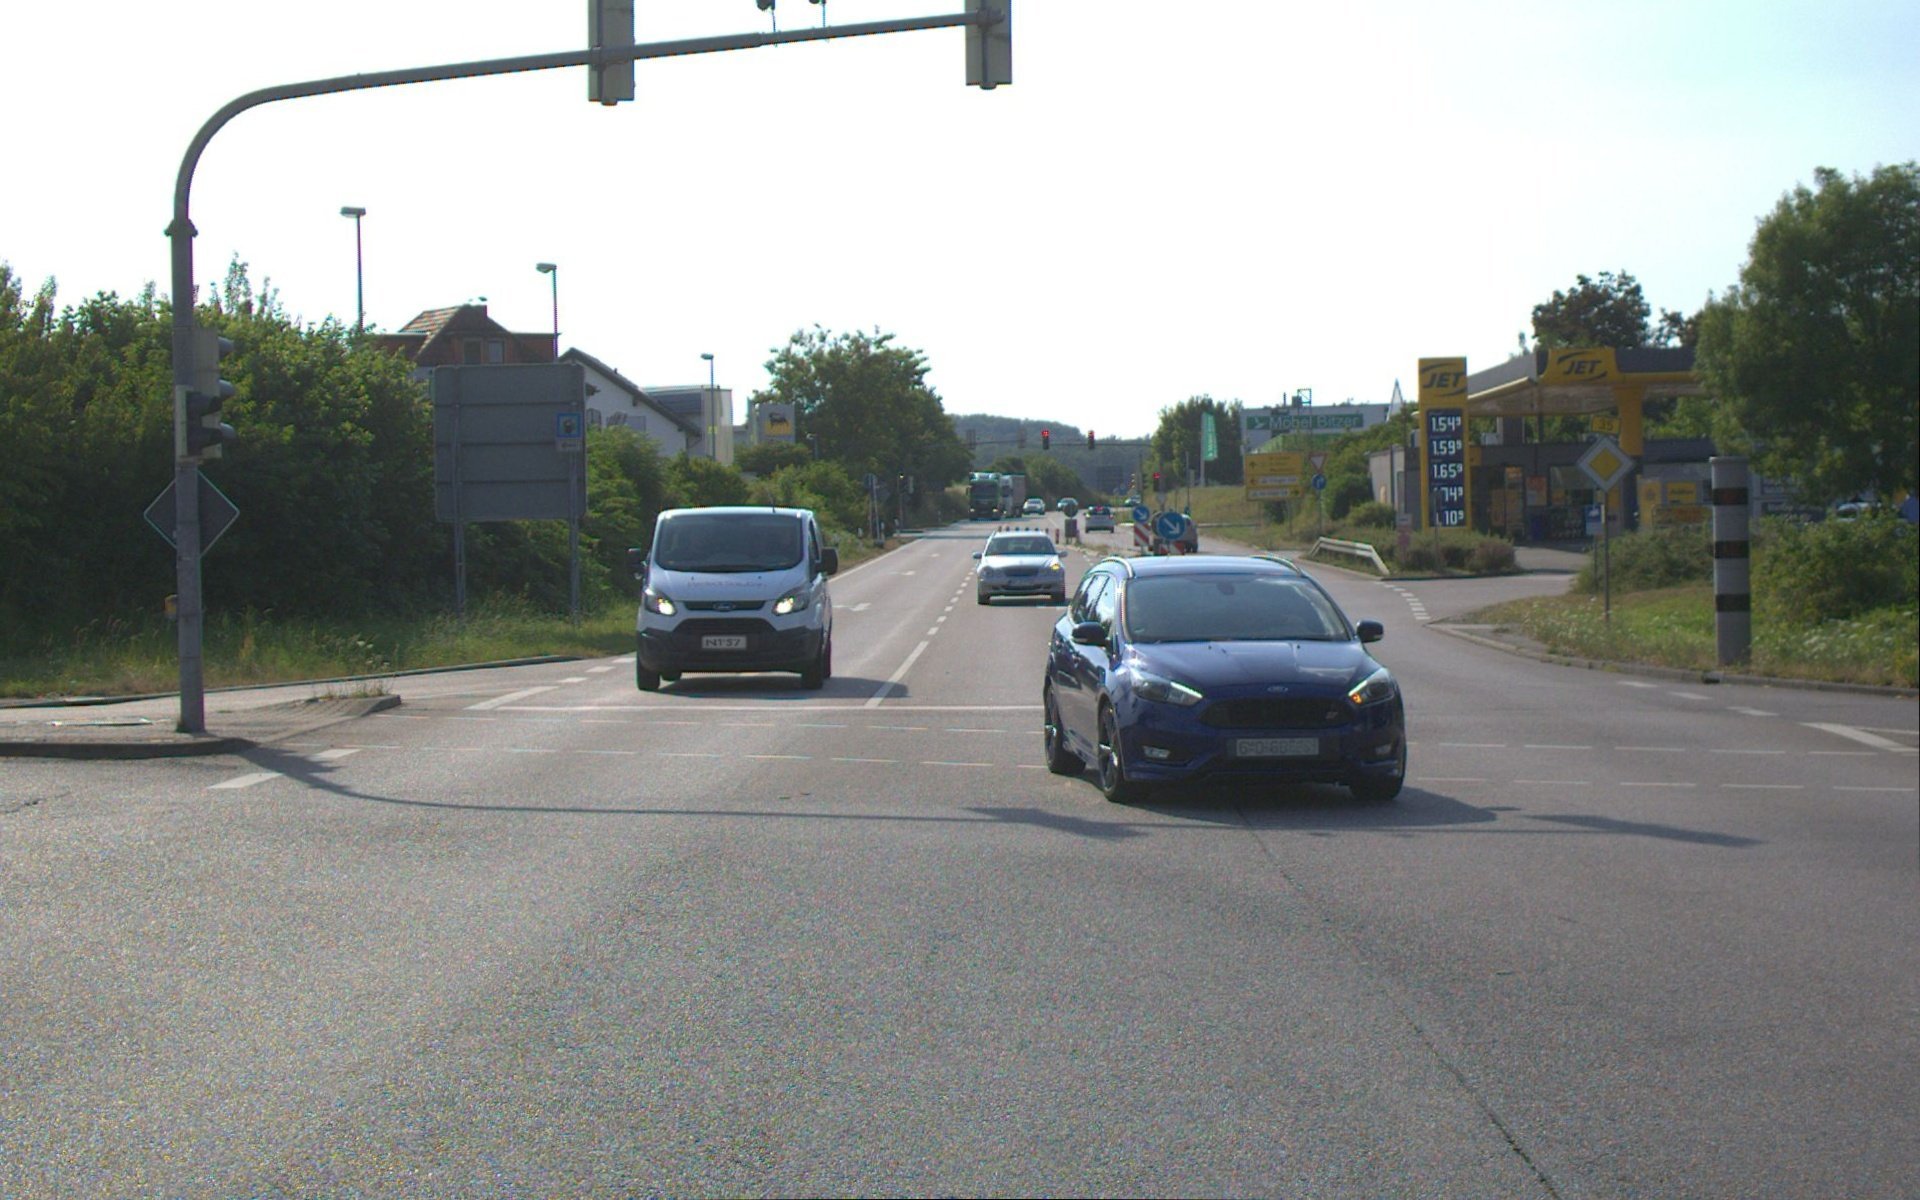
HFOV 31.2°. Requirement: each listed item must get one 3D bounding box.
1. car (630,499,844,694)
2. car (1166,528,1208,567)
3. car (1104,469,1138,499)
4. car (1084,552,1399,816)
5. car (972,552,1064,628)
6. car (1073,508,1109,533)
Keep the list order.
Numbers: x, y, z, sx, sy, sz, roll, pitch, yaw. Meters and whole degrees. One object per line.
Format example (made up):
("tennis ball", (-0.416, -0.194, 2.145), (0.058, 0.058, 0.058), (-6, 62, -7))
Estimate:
("car", (-2.386, -0.108, 37.940), (1.900, 1.941, 4.819), (1, 2, 1))
("car", (8.754, -2.006, 132.806), (1.550, 1.444, 3.049), (1, 0, 3))
("car", (11.524, -8.317, 246.706), (1.993, 2.007, 4.000), (1, 0, -3))
("car", (1.757, 0.470, 21.952), (1.788, 1.492, 4.301), (1, 0, 4))
("car", (1.205, -0.219, 72.497), (1.857, 1.508, 4.953), (1, 0, 1))
("car", (7.528, -4.585, 197.926), (1.740, 1.347, 3.204), (1, 0, -3))
